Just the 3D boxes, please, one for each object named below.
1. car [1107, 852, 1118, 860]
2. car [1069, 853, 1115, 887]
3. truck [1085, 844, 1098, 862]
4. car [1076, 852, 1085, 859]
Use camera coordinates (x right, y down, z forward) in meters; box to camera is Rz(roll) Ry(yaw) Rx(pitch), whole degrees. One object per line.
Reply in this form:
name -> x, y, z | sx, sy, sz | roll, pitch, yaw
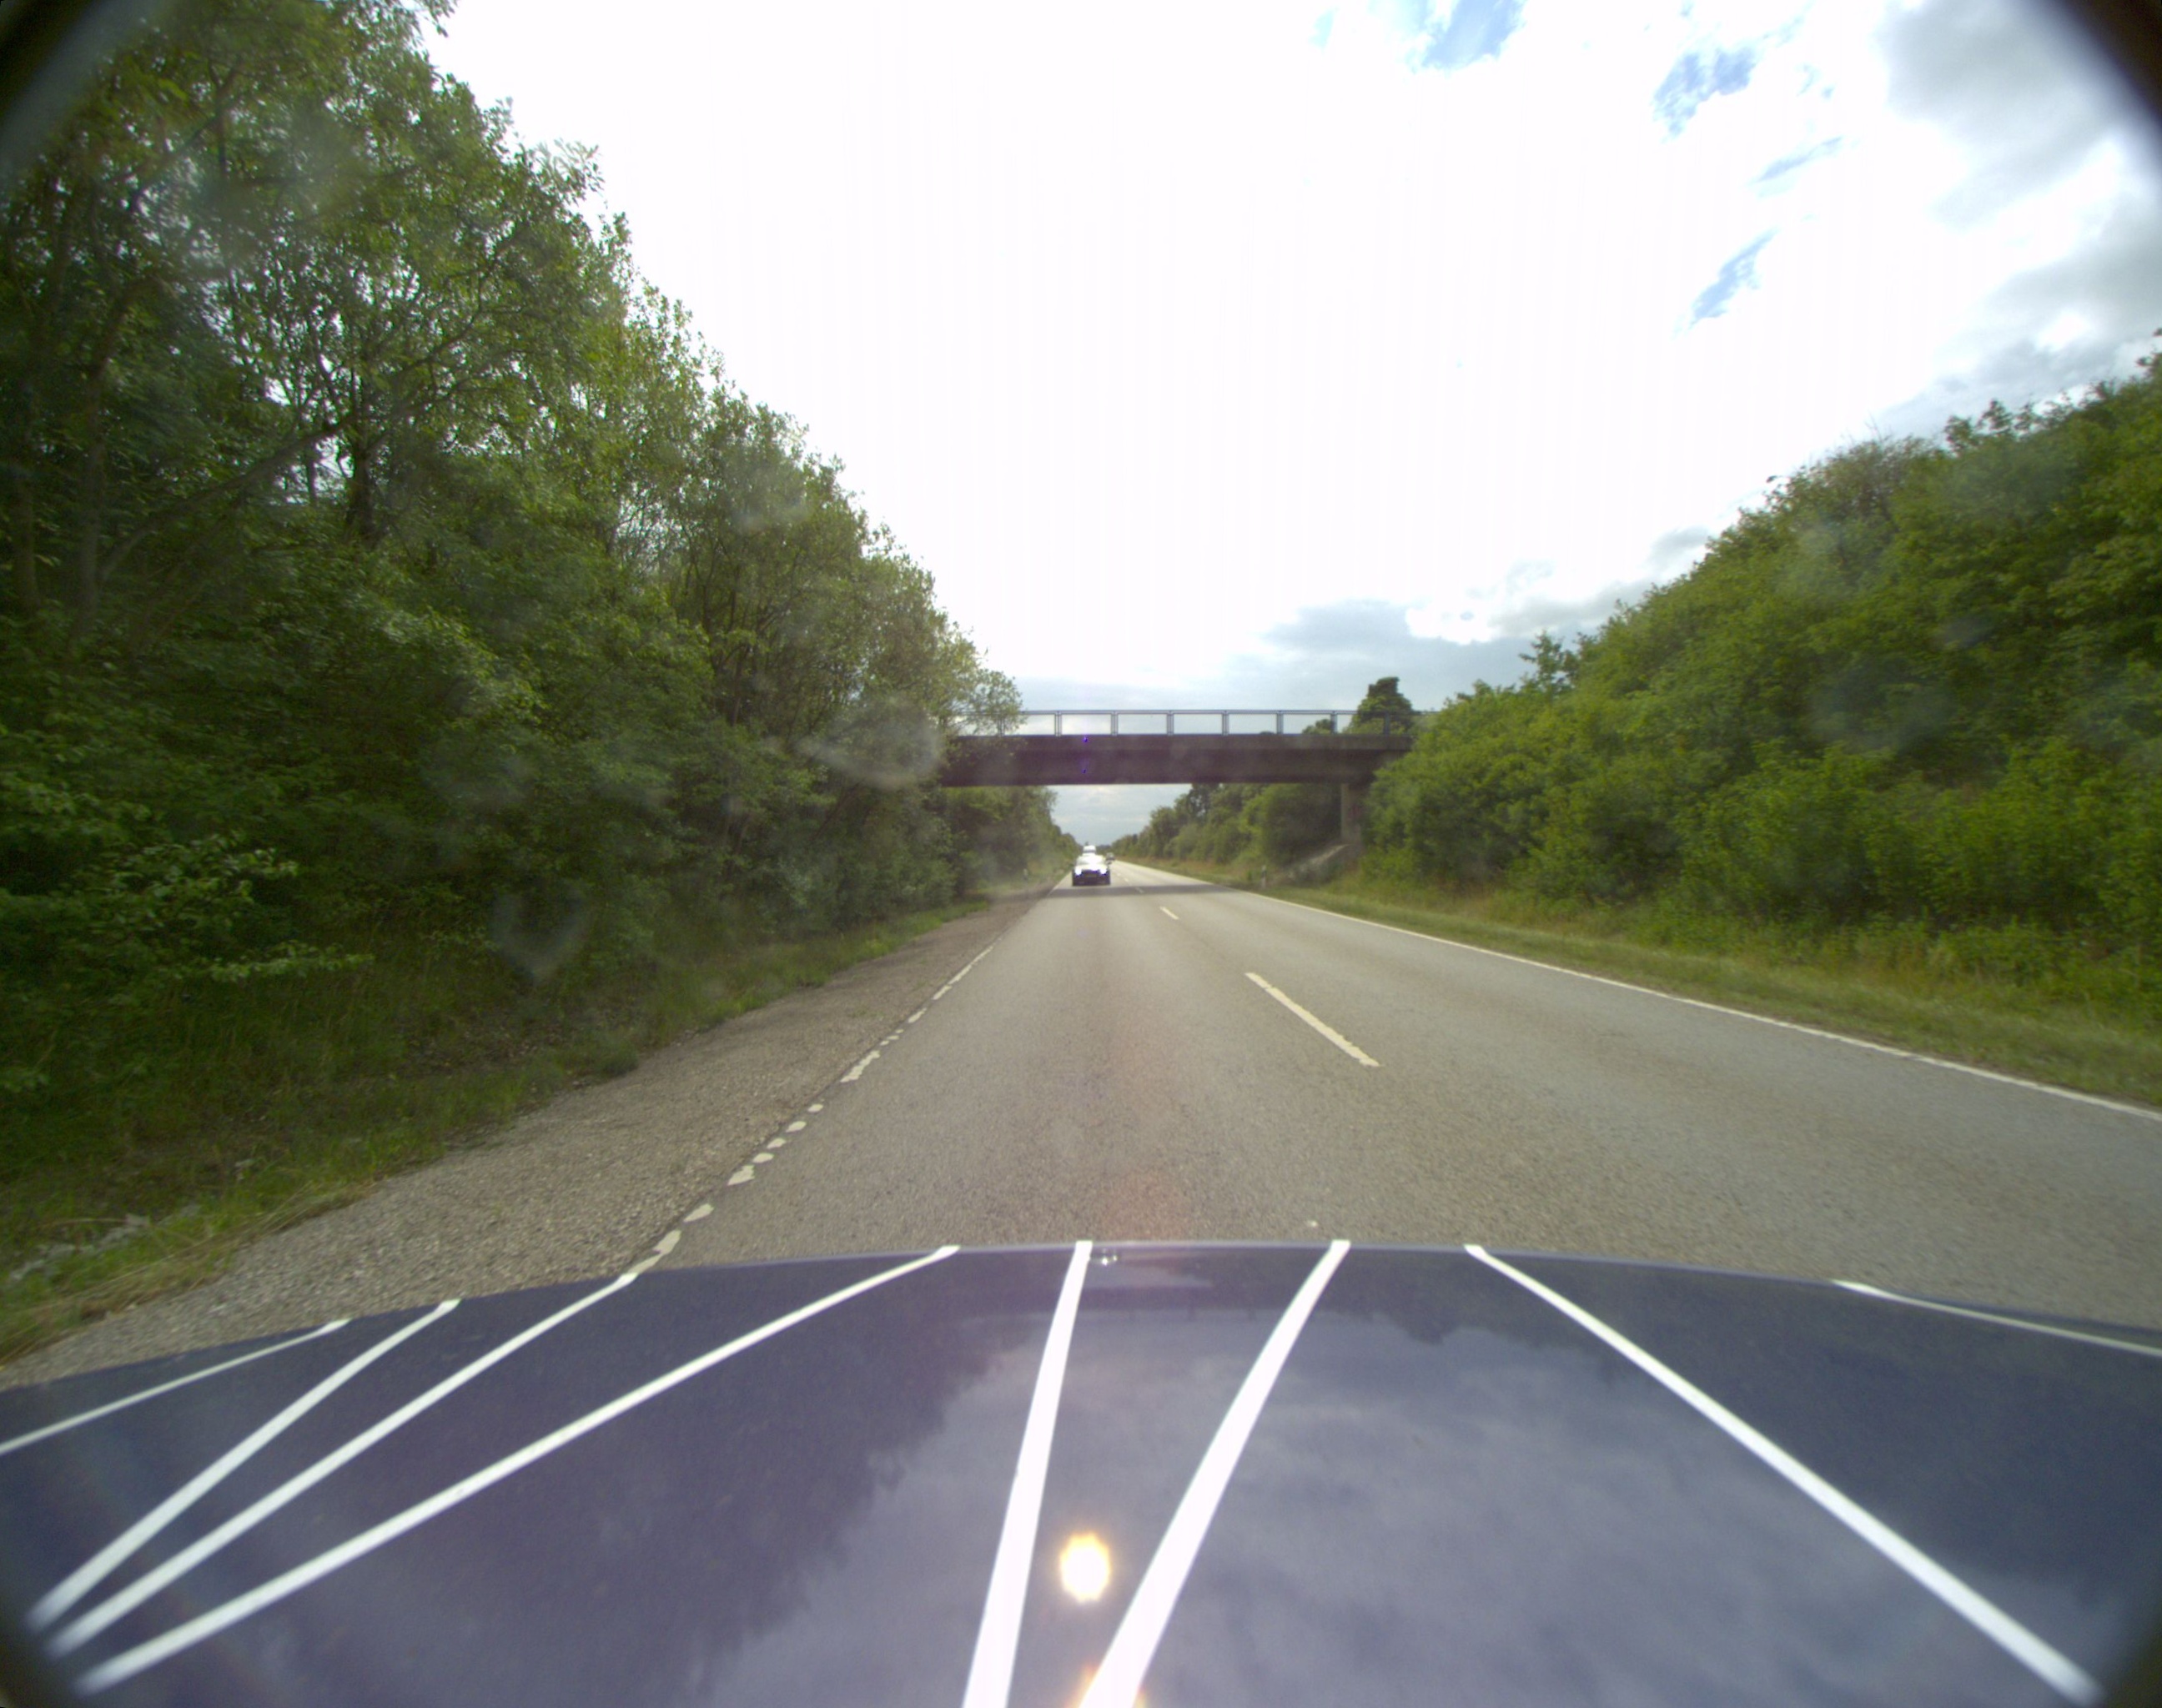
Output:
car -> 6.241, 0.398, 150.595 | 1.892, 1.637, 4.000 | -2, 0, 0
car -> 0.531, 0.710, 36.773 | 1.998, 1.436, 4.640 | -2, 1, 1
truck -> 1.512, -0.183, 112.849 | 1.802, 2.518, 6.685 | -2, 1, 1
car -> -0.187, 0.342, 177.576 | 1.893, 1.637, 3.999 | -2, 0, -1
